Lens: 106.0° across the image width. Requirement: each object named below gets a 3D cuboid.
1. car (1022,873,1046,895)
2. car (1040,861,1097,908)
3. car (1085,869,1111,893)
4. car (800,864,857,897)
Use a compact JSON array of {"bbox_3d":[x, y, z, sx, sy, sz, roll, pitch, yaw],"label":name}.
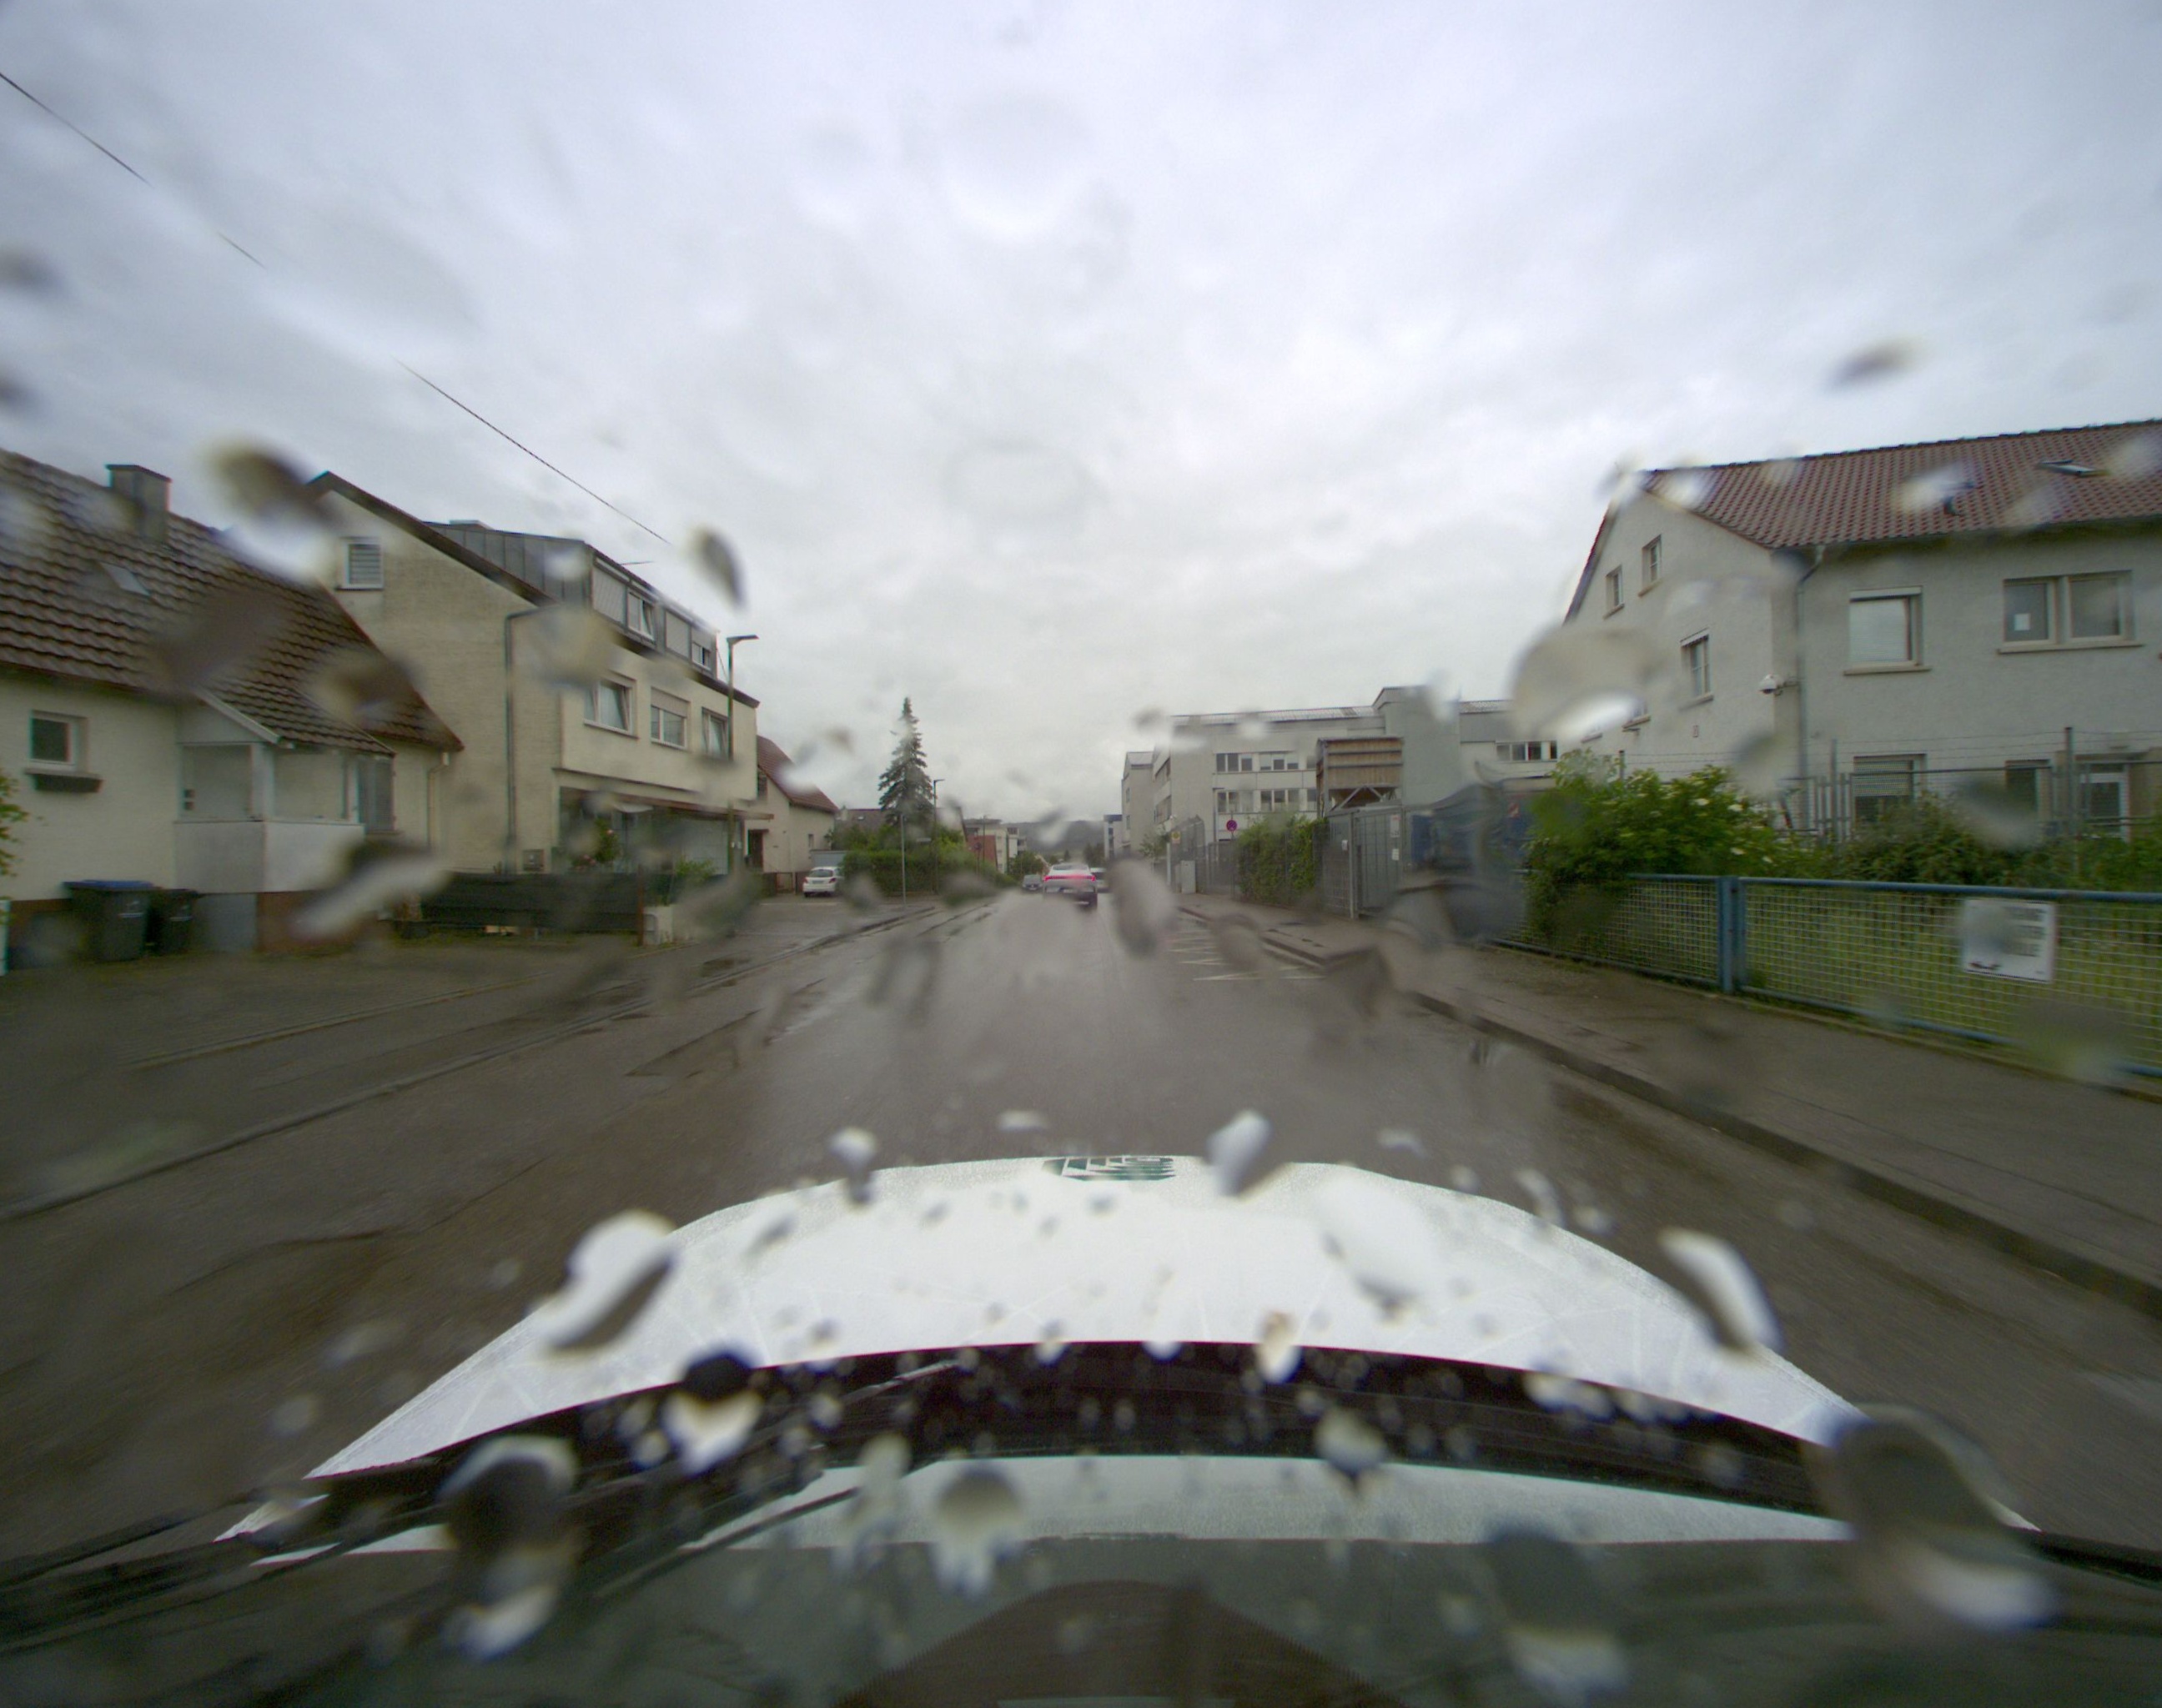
[{"bbox_3d":[-3.599,2.277,62.565,1.671,1.528,3.997,-1,-1,-1],"label":"car"},{"bbox_3d":[-0.401,1.074,30.579,1.987,1.502,4.670,-1,1,1],"label":"car"},{"bbox_3d":[1.487,2.439,73.202,1.990,2.014,3.993,-2,-3,-4],"label":"car"},{"bbox_3d":[-13.332,1.368,43.254,1.789,1.508,3.999,-1,0,-1],"label":"car"}]
